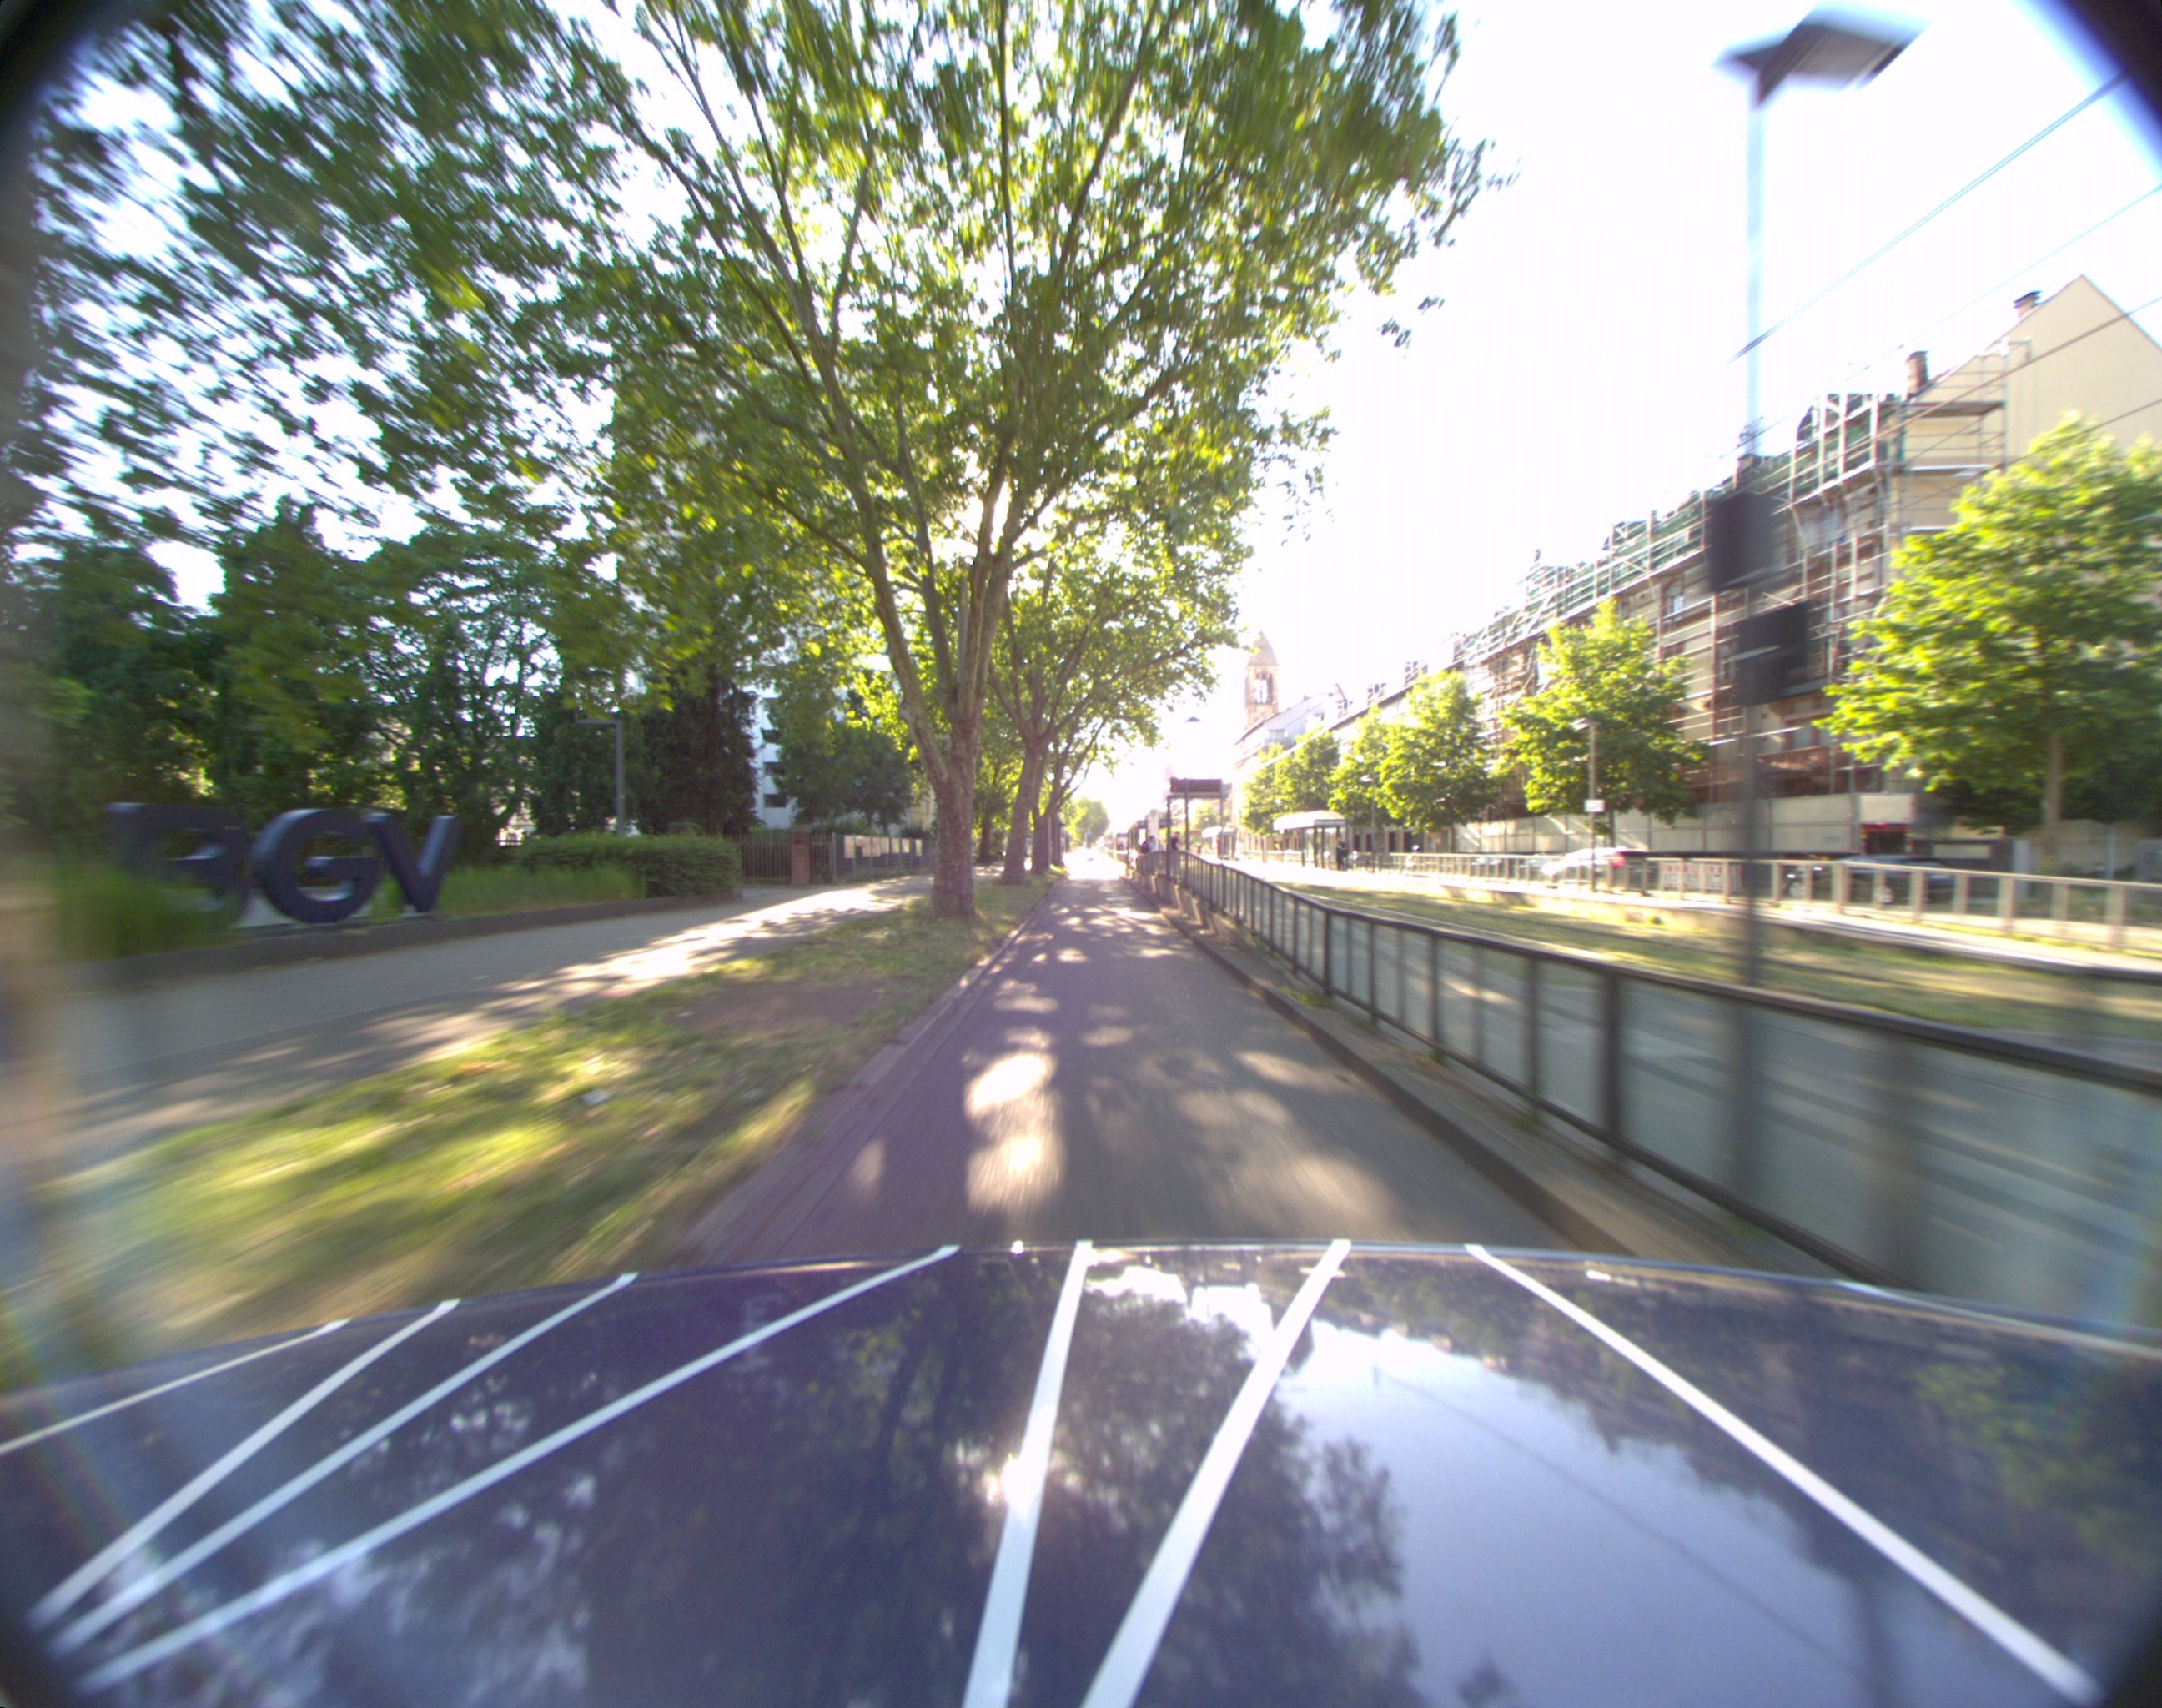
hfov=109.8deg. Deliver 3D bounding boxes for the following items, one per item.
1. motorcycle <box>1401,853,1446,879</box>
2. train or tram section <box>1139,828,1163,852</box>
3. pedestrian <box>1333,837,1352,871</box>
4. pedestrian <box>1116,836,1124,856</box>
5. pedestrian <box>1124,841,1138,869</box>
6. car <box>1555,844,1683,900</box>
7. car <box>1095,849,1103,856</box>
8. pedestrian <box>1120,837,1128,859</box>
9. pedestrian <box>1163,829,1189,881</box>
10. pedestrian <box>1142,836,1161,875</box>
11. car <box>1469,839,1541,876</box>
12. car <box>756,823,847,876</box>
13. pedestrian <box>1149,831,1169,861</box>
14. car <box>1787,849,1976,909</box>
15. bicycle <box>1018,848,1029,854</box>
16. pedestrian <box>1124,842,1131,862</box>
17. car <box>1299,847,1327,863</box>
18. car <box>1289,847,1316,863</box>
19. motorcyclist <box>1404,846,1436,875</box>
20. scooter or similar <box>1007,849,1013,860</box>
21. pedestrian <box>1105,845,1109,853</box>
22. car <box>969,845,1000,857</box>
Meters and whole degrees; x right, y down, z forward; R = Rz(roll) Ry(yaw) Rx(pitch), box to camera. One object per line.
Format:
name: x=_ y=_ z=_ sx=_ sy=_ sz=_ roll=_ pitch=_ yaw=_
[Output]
motorcycle: x=15.831 y=0.537 z=35.193 sx=0.820 sy=1.067 sz=2.401 roll=-2 pitch=1 yaw=-4
train or tram section: x=11.465 y=-2.318 z=126.181 sx=2.877 sy=3.664 sz=14.558 roll=0 pitch=1 yaw=1
pedestrian: x=13.303 y=-0.009 z=38.612 sx=0.681 sy=1.680 sz=0.654 roll=-2 pitch=1 yaw=-1
pedestrian: x=3.449 y=-0.713 z=67.222 sx=0.550 sy=1.698 sz=0.599 roll=-2 pitch=1 yaw=-2
pedestrian: x=3.264 y=0.064 z=49.669 sx=0.766 sy=1.749 sz=0.695 roll=-2 pitch=1 yaw=0
car: x=19.246 y=0.584 z=27.429 sx=1.868 sy=1.795 sz=4.027 roll=-2 pitch=1 yaw=2
car: x=3.820 y=-0.269 z=161.244 sx=1.636 sy=1.491 sz=3.999 roll=0 pitch=1 yaw=1
pedestrian: x=3.890 y=-0.543 z=68.790 sx=0.600 sy=1.985 sz=0.824 roll=-2 pitch=1 yaw=6
pedestrian: x=3.194 y=0.030 z=25.602 sx=0.758 sy=1.680 sz=0.678 roll=-2 pitch=1 yaw=1
pedestrian: x=3.061 y=0.061 z=33.115 sx=0.681 sy=1.680 sz=0.894 roll=-2 pitch=1 yaw=1
car: x=24.390 y=0.159 z=43.835 sx=1.998 sy=2.002 sz=4.000 roll=-2 pitch=1 yaw=2
car: x=-14.241 y=-0.267 z=39.251 sx=1.998 sy=2.485 sz=6.346 roll=-2 pitch=1 yaw=3
pedestrian: x=4.547 y=-0.459 z=44.144 sx=0.912 sy=1.712 sz=0.630 roll=-3 pitch=2 yaw=-33
car: x=24.409 y=0.701 z=23.403 sx=1.725 sy=1.577 sz=4.065 roll=-2 pitch=1 yaw=5
bicycle: x=-10.612 y=-0.538 z=140.027 sx=1.827 sy=1.047 sz=0.534 roll=-2 pitch=1 yaw=-26
pedestrian: x=4.077 y=-0.148 z=66.258 sx=0.507 sy=1.698 sz=0.729 roll=-2 pitch=1 yaw=-2
car: x=24.700 y=0.080 z=80.924 sx=1.811 sy=1.626 sz=3.784 roll=-2 pitch=1 yaw=0
car: x=24.697 y=0.098 z=84.842 sx=1.811 sy=1.667 sz=3.784 roll=-2 pitch=1 yaw=0
motorcyclist: x=15.801 y=0.282 z=35.431 sx=0.820 sy=1.292 sz=1.276 roll=-2 pitch=1 yaw=-4
scooter or similar: x=-8.154 y=0.073 z=87.361 sx=0.562 sy=1.250 sz=1.289 roll=0 pitch=2 yaw=-3
pedestrian: x=5.173 y=-1.049 z=153.792 sx=0.679 sy=1.612 sz=0.925 roll=-2 pitch=1 yaw=-1
car: x=-15.353 y=-0.486 z=121.191 sx=4.584 sy=1.630 sz=1.932 roll=-3 pitch=1 yaw=-21
